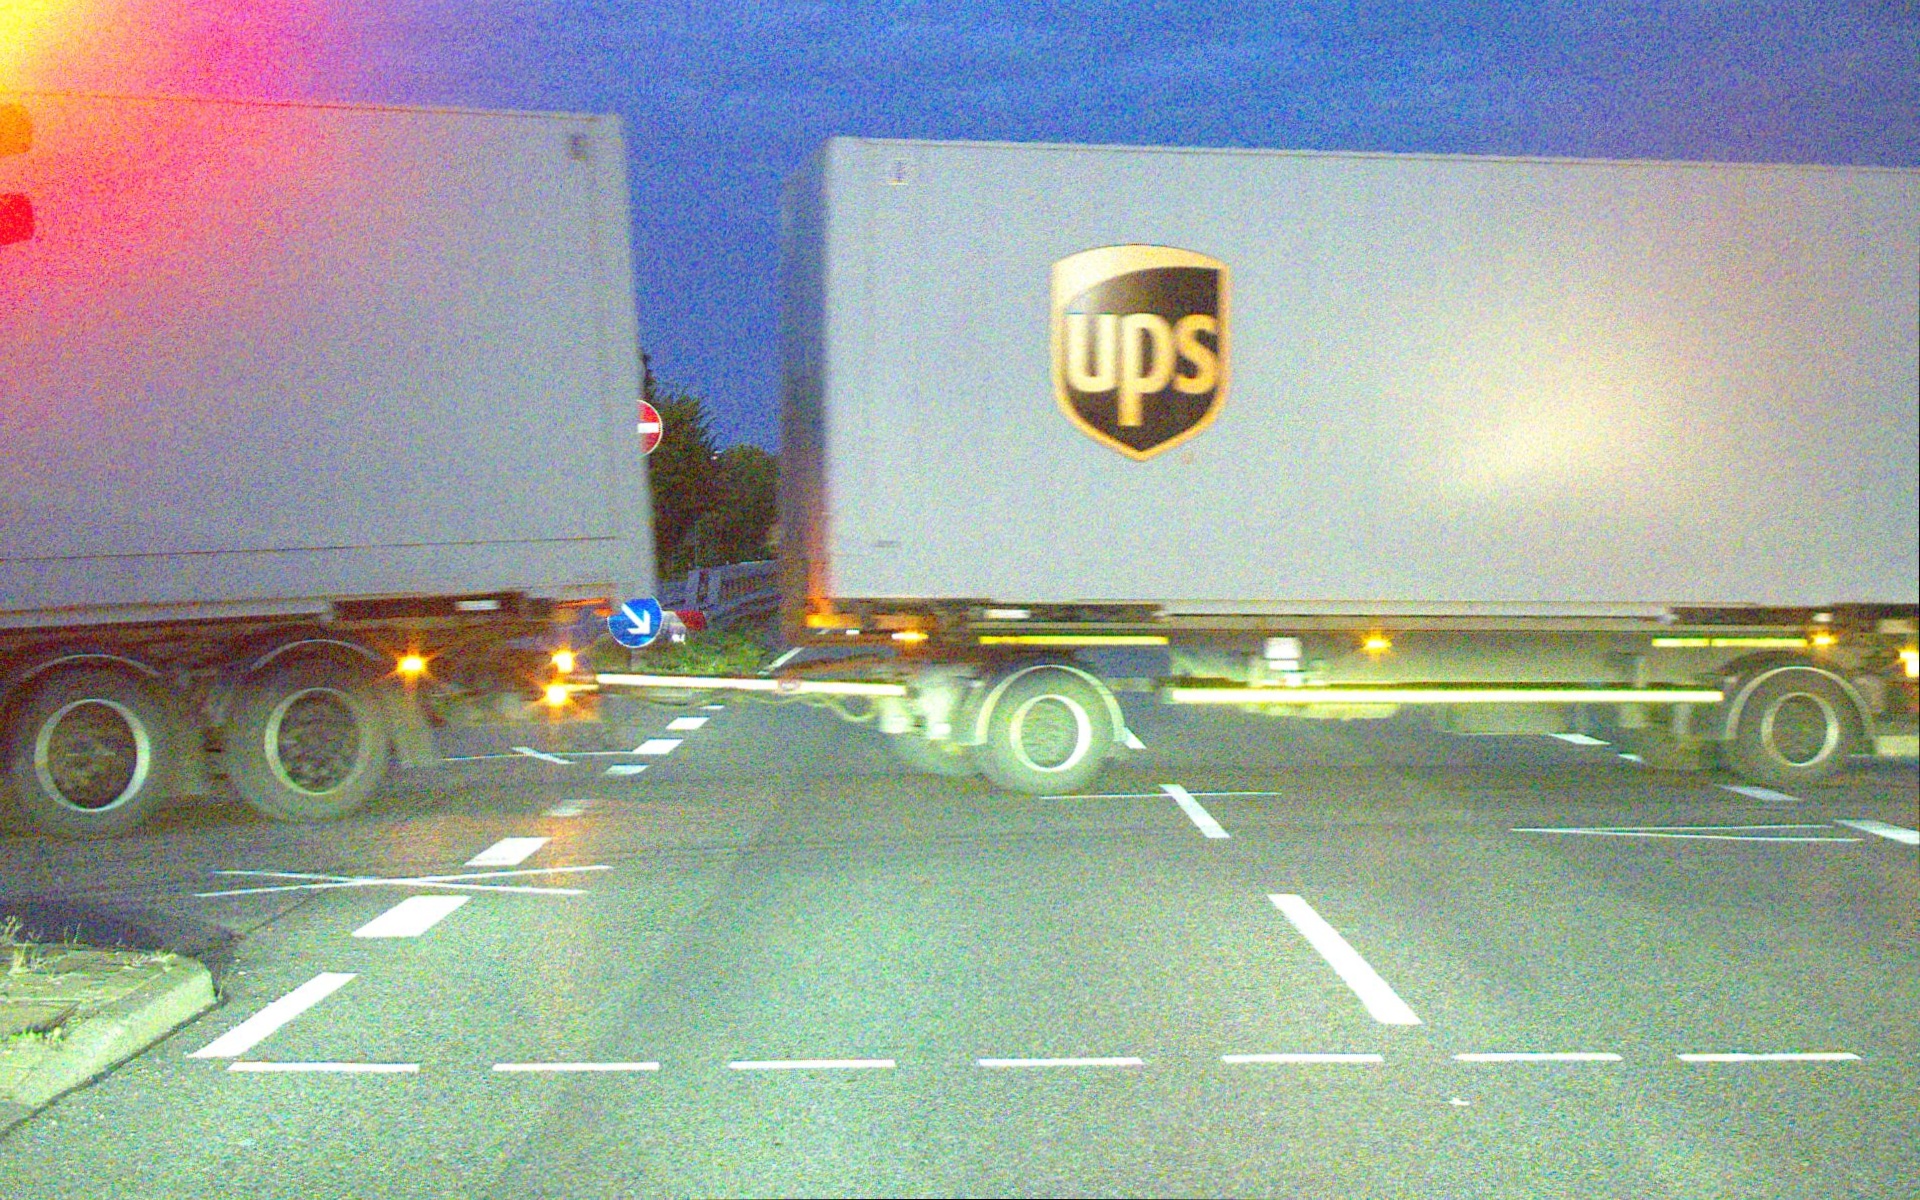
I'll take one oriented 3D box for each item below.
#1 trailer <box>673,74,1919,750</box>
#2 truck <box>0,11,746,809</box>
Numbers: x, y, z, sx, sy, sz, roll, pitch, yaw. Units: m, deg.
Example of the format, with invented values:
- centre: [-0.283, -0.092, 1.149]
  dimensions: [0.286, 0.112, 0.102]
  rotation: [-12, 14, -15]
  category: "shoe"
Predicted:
- centre: [2.725, -1.236, 22.298]
  dimensions: [8.846, 3.929, 2.586]
  rotation: [-2, 1, -9]
  category: "trailer"
- centre: [-6.270, -0.975, 18.425]
  dimensions: [10.313, 4.103, 2.734]
  rotation: [-1, 1, -35]
  category: "truck"
